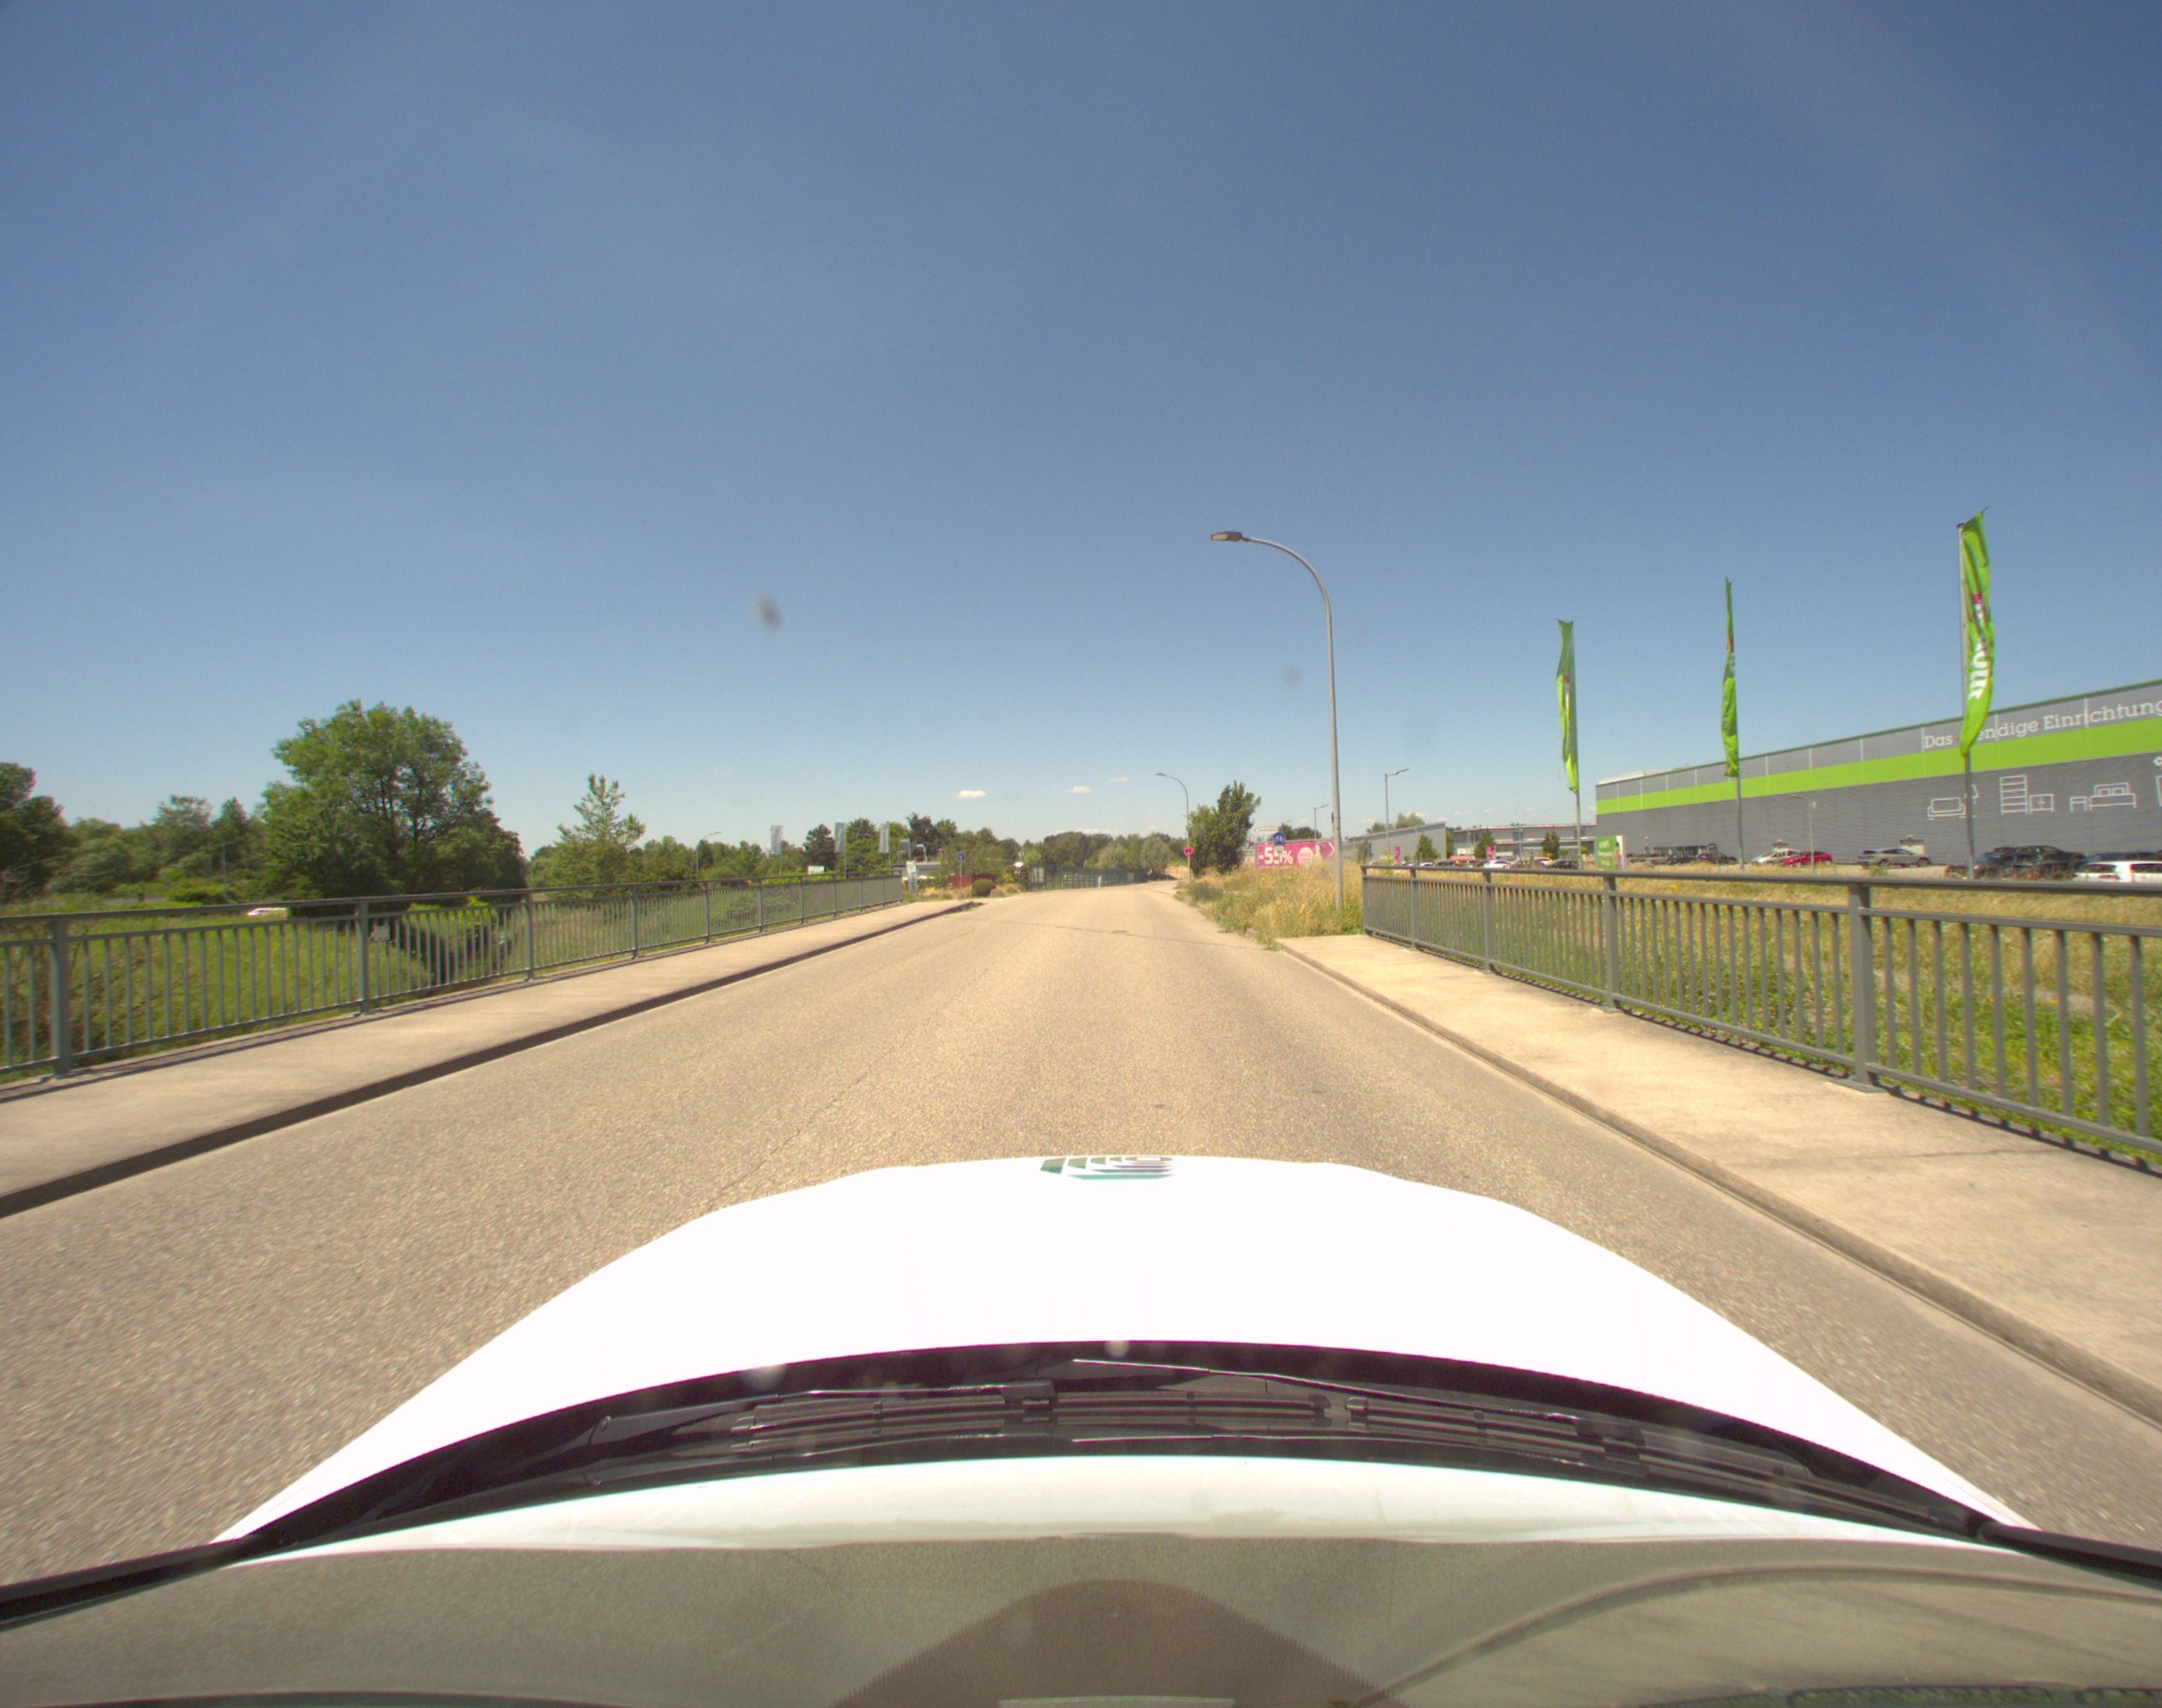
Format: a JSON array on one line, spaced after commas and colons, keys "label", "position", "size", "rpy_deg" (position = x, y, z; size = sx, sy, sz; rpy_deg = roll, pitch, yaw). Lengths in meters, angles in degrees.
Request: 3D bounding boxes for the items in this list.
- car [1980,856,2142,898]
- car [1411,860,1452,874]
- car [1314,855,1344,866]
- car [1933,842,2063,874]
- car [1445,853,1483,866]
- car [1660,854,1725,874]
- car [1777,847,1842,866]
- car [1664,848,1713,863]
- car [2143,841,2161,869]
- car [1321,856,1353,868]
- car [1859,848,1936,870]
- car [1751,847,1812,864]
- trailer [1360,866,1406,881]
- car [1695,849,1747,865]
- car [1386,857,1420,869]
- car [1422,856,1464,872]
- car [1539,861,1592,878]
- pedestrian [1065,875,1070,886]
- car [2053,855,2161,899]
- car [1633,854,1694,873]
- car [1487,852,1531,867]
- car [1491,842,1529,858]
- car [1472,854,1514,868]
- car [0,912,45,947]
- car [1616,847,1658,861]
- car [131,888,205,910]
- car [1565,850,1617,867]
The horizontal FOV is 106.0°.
[{"label": "car", "position": [40.500, 0.970, 33.749], "size": [3.964, 1.531, 1.952], "rpy_deg": [-3, -2, 8]}, {"label": "car", "position": [38.538, 1.413, 89.587], "size": [3.714, 1.444, 1.947], "rpy_deg": [-1, -1, 8]}, {"label": "car", "position": [34.591, 0.910, 113.742], "size": [3.714, 1.444, 1.947], "rpy_deg": [-1, -1, 8]}, {"label": "car", "position": [49.532, 0.244, 44.090], "size": [4.382, 1.519, 2.004], "rpy_deg": [-2, -2, 8]}, {"label": "car", "position": [50.422, 0.700, 107.254], "size": [3.966, 1.519, 2.004], "rpy_deg": [-2, -2, 7]}, {"label": "car", "position": [52.967, 0.884, 70.599], "size": [3.970, 1.519, 2.002], "rpy_deg": [-2, -2, 3]}, {"label": "car", "position": [66.462, 0.221, 74.337], "size": [3.970, 1.519, 2.002], "rpy_deg": [-2, -2, 3]}, {"label": "car", "position": [69.707, 0.229, 93.489], "size": [3.970, 1.519, 2.002], "rpy_deg": [-2, -2, 3]}, {"label": "car", "position": [60.875, -0.034, 43.753], "size": [4.630, 1.519, 2.002], "rpy_deg": [-2, -2, 5]}, {"label": "car", "position": [33.717, 1.040, 107.382], "size": [3.714, 1.444, 1.947], "rpy_deg": [-1, -1, 8]}, {"label": "car", "position": [64.923, 0.403, 64.824], "size": [3.970, 1.519, 2.002], "rpy_deg": [-2, -2, 3]}, {"label": "car", "position": [66.628, 0.156, 77.488], "size": [3.970, 1.475, 2.002], "rpy_deg": [-2, -2, 3]}, {"label": "trailer", "position": [29.939, 1.973, 80.842], "size": [3.966, 1.398, 1.767], "rpy_deg": [-1, -1, 7]}, {"label": "car", "position": [68.686, 0.325, 87.432], "size": [3.970, 1.519, 2.002], "rpy_deg": [-2, -2, 3]}, {"label": "car", "position": [40.810, 1.133, 103.340], "size": [3.714, 1.444, 1.947], "rpy_deg": [-1, -1, 8]}, {"label": "car", "position": [38.353, 1.069, 86.308], "size": [3.714, 1.570, 1.895], "rpy_deg": [-1, -1, 8]}, {"label": "car", "position": [47.742, 1.560, 80.334], "size": [3.970, 1.475, 2.002], "rpy_deg": [-2, -2, 3]}, {"label": "pedestrian", "position": [-2.312, 4.383, 135.732], "size": [0.602, 1.839, 0.807], "rpy_deg": [-3, -2, 10]}, {"label": "car", "position": [40.465, 0.842, 31.105], "size": [3.964, 1.531, 1.952], "rpy_deg": [-3, -2, 8]}, {"label": "car", "position": [52.289, 0.827, 73.180], "size": [3.970, 1.519, 2.002], "rpy_deg": [-2, -2, 3]}, {"label": "car", "position": [49.875, 0.616, 94.948], "size": [3.966, 1.519, 2.004], "rpy_deg": [-2, -2, 7]}, {"label": "car", "position": [56.740, -0.525, 107.752], "size": [3.966, 1.848, 2.004], "rpy_deg": [-2, -2, 7]}, {"label": "car", "position": [50.036, 0.872, 98.961], "size": [3.966, 1.519, 2.004], "rpy_deg": [-2, -2, 7]}, {"label": "car", "position": [-54.397, 3.845, 40.987], "size": [2.011, 1.596, 3.952], "rpy_deg": [-2, -1, -40]}, {"label": "car", "position": [70.961, 0.002, 103.924], "size": [3.970, 1.519, 2.001], "rpy_deg": [-2, -2, 3]}, {"label": "car", "position": [-80.773, 3.975, 72.127], "size": [4.018, 1.571, 1.978], "rpy_deg": [-3, 0, -36]}, {"label": "car", "position": [52.646, 0.446, 84.111], "size": [3.970, 1.519, 2.002], "rpy_deg": [-2, -2, 3]}]
